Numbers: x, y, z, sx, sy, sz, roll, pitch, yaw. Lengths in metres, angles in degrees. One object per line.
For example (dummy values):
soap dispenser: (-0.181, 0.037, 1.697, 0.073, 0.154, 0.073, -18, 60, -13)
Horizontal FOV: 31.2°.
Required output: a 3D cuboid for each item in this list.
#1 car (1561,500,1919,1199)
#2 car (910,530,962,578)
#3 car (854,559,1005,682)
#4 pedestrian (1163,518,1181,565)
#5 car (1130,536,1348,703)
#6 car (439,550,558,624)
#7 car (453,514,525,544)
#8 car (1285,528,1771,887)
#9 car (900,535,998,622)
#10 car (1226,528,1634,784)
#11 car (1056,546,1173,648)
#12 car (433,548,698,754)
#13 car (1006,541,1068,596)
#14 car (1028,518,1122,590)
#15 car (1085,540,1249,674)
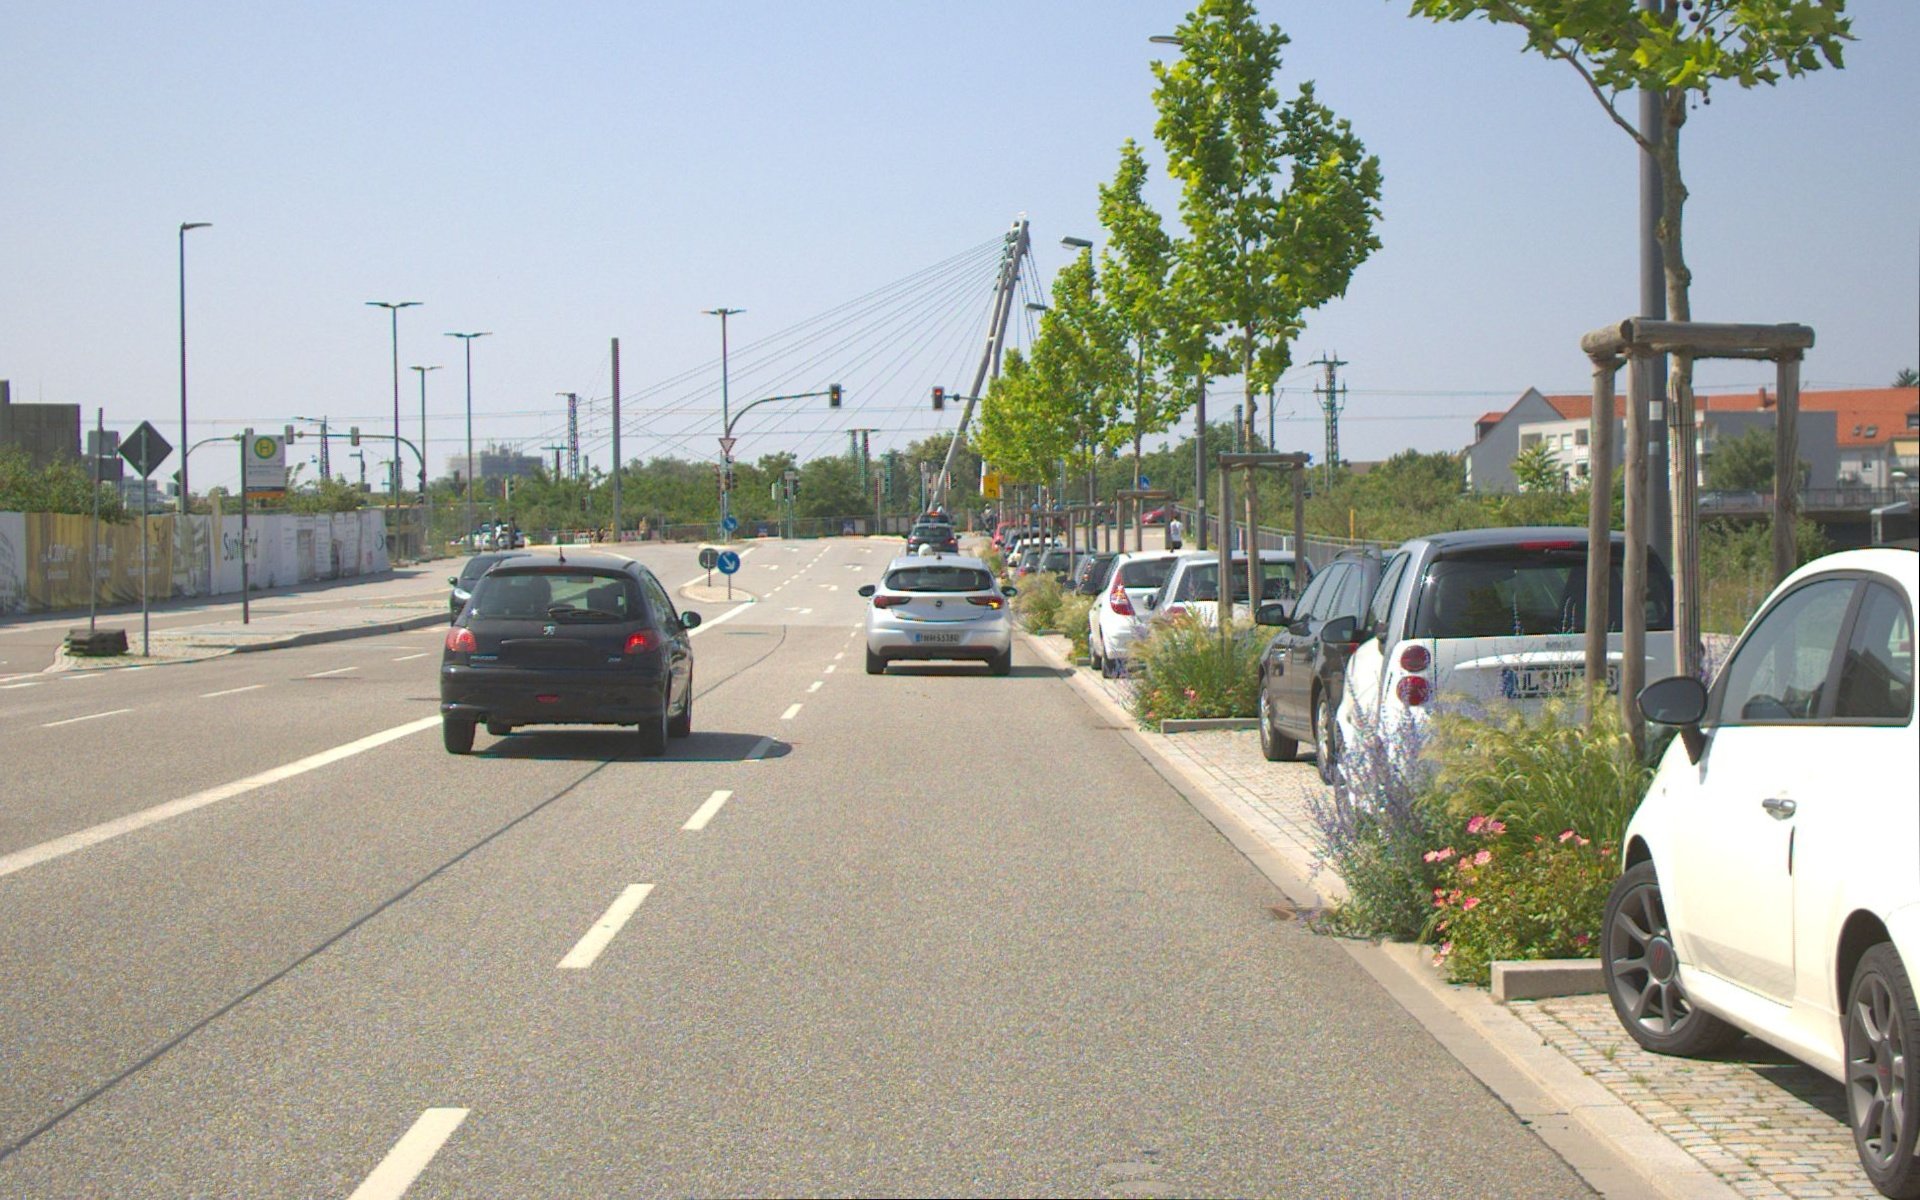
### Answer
car: (2.774, 0.547, 8.873, 1.717, 1.519, 3.642, -2, -1, -1)
car: (-0.832, -1.622, 119.274, 1.778, 1.563, 4.001, 0, 2, 0)
car: (-0.356, 0.221, 43.080, 1.778, 1.437, 4.000, 1, 1, 0)
pedestrian: (7.116, -1.961, 115.318, 0.533, 1.570, 0.524, 1, 0, 0)
car: (2.587, 0.143, 32.733, 1.908, 1.474, 4.157, 0, 1, 3)
car: (-8.775, -0.266, 65.676, 1.704, 1.347, 4.456, -1, 1, -1)
car: (-26.964, -4.054, 196.748, 3.996, 1.644, 1.856, 2, 1, 40)
car: (2.697, 0.444, 17.229, 1.908, 1.572, 4.157, 0, 1, 3)
car: (-0.207, -0.431, 64.870, 1.778, 1.563, 4.000, -1, 1, 0)
car: (2.988, 0.339, 22.793, 1.789, 1.472, 4.372, -2, 0, -4)
car: (2.338, -0.076, 52.818, 1.704, 1.457, 4.085, -1, 1, 2)
car: (-2.920, 0.334, 26.071, 1.619, 1.411, 3.727, -1, 1, -1)
car: (2.206, -0.933, 99.268, 1.696, 1.470, 4.205, -2, 1, 1)
car: (2.449, -0.976, 74.319, 1.704, 1.458, 3.954, -2, 0, -2)
car: (2.457, 0.047, 41.526, 1.746, 1.504, 4.001, -1, 1, 0)
